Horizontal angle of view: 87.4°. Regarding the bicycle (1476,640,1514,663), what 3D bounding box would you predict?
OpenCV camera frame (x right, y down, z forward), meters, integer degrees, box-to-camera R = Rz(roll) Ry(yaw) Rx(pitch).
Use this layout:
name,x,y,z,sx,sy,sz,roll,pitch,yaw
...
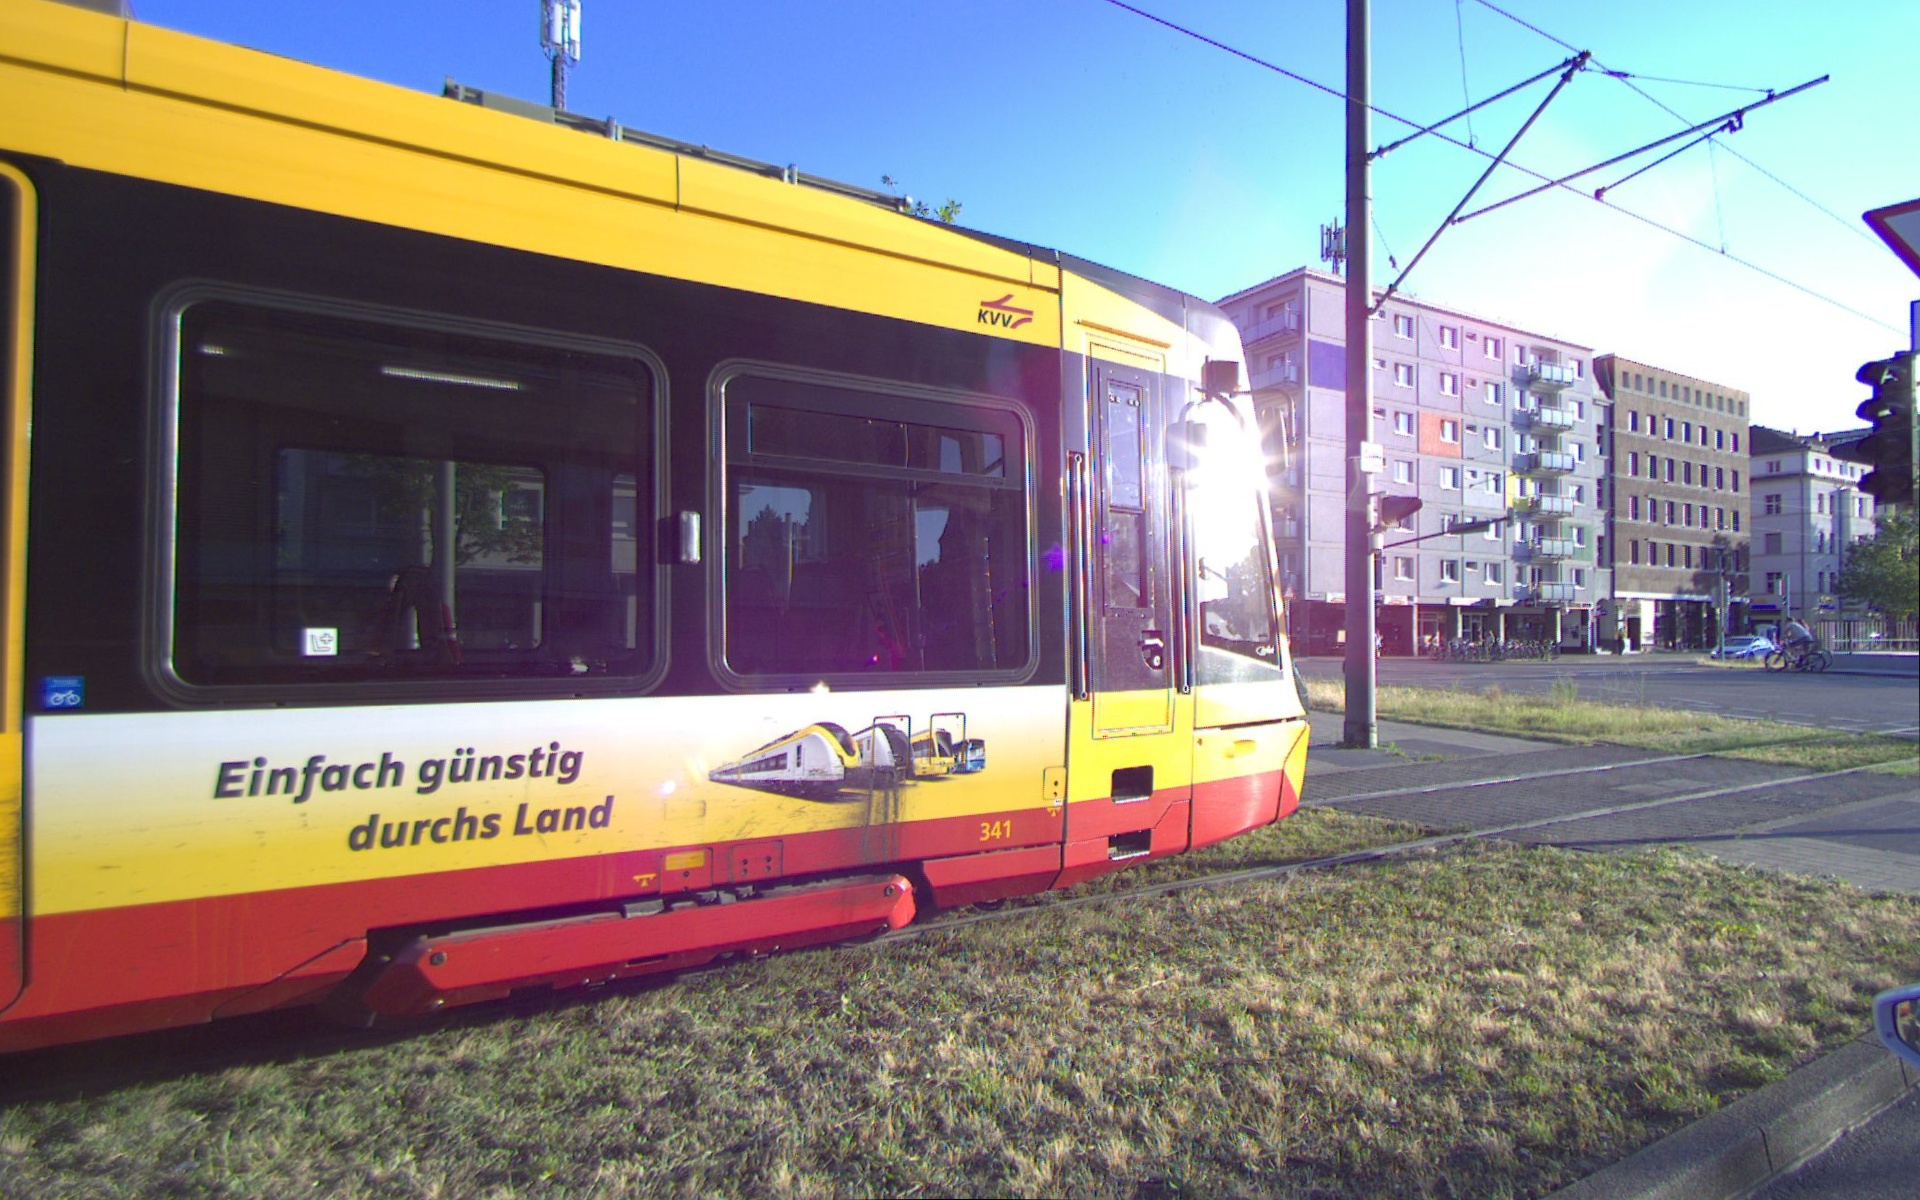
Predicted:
name,x,y,z,sx,sy,sz,roll,pitch,yaw
bicycle,29.263,2.788,54.927,0.644,1.206,1.780,1,-2,-30

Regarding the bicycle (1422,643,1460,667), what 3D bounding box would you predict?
name,x,y,z,sx,sy,sz,roll,pitch,yaw
bicycle,25.823,2.960,53.954,0.631,1.224,1.786,1,-2,-30

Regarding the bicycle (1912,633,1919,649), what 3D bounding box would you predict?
name,x,y,z,sx,sy,sz,roll,pitch,yaw
bicycle,74.300,3.155,77.316,2.382,1.217,0.809,1,-2,-28

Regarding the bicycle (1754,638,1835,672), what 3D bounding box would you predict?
name,x,y,z,sx,sy,sz,roll,pitch,yaw
bicycle,29.107,1.915,35.058,2.141,1.098,0.535,0,-1,44

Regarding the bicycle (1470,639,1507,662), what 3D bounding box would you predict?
name,x,y,z,sx,sy,sz,roll,pitch,yaw
bicycle,28.721,2.741,54.589,0.561,1.197,1.761,1,-2,-29

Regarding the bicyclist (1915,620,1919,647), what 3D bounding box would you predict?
name,x,y,z,sx,sy,sz,roll,pitch,yaw
bicyclist,74.473,2.575,77.526,0.912,2.040,0.794,1,-1,-28

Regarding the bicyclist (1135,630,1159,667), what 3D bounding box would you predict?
name,x,y,z,sx,sy,sz,roll,pitch,yaw
bicyclist,7.540,1.951,40.532,0.841,1.445,0.500,0,-1,-6

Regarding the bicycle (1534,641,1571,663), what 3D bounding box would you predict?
name,x,y,z,sx,sy,sz,roll,pitch,yaw
bicycle,33.890,2.974,57.457,0.739,1.194,1.684,1,-1,-28

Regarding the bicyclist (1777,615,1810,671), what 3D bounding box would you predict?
name,x,y,z,sx,sy,sz,roll,pitch,yaw
bicyclist,27.809,1.431,33.509,0.642,1.842,0.785,1,-2,-45

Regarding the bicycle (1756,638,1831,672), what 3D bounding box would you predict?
name,x,y,z,sx,sy,sz,roll,pitch,yaw
bicycle,27.798,1.823,33.503,1.882,1.089,0.628,-1,-2,45

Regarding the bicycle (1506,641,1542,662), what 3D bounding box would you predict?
name,x,y,z,sx,sy,sz,roll,pitch,yaw
bicycle,31.550,2.868,56.248,0.545,1.132,1.747,1,-2,-29

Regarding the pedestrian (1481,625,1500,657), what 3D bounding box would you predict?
name,x,y,z,sx,sy,sz,roll,pitch,yaw
pedestrian,31.883,2.447,60.330,0.728,1.866,0.780,1,-2,-38

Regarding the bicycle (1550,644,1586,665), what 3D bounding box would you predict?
name,x,y,z,sx,sy,sz,roll,pitch,yaw
bicycle,35.185,3.123,58.190,0.688,1.159,1.684,1,-1,-27

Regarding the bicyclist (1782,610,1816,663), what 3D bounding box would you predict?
name,x,y,z,sx,sy,sz,roll,pitch,yaw
bicyclist,29.204,1.266,34.980,0.867,1.842,0.535,-1,-2,44

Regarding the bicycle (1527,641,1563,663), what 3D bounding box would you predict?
name,x,y,z,sx,sy,sz,roll,pitch,yaw
bicycle,33.231,2.937,57.099,0.696,1.168,1.684,1,-1,-27

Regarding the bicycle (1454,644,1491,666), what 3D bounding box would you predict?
name,x,y,z,sx,sy,sz,roll,pitch,yaw
bicycle,27.643,2.951,54.218,0.592,1.154,1.749,1,-2,-29

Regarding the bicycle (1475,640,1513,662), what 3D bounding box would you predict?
name,x,y,z,sx,sy,sz,roll,pitch,yaw
bicycle,29.679,2.811,55.815,0.632,1.176,1.823,1,-2,-29

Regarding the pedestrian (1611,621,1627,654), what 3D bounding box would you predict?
name,x,y,z,sx,sy,sz,roll,pitch,yaw
pedestrian,44.653,2.516,68.071,0.783,2.207,0.599,1,-1,-30

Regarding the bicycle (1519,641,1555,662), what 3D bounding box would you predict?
name,x,y,z,sx,sy,sz,roll,pitch,yaw
bicycle,32.619,2.900,56.817,0.626,1.139,1.720,2,-2,-28

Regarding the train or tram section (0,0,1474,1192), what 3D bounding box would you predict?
name,x,y,z,sx,sy,sz,roll,pitch,yaw
train or tram section,-3.346,-0.312,3.866,13.061,3.788,2.895,1,-1,-30

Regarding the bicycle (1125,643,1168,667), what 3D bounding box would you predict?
name,x,y,z,sx,sy,sz,roll,pitch,yaw
bicycle,7.530,2.209,40.526,1.637,0.957,0.509,0,-1,-7

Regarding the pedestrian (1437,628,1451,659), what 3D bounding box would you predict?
name,x,y,z,sx,sy,sz,roll,pitch,yaw
pedestrian,26.794,2.381,55.635,0.572,1.706,0.544,-1,-2,41

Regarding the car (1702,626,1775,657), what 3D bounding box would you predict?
name,x,y,z,sx,sy,sz,roll,pitch,yaw
car,42.128,2.246,54.341,3.951,1.639,1.682,1,-3,-29

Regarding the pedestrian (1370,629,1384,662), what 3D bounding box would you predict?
name,x,y,z,sx,sy,sz,roll,pitch,yaw
pedestrian,21.471,2.330,51.705,0.563,1.641,0.602,0,-1,29

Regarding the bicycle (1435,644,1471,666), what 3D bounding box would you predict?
name,x,y,z,sx,sy,sz,roll,pitch,yaw
bicycle,26.719,2.976,54.448,0.601,1.157,1.768,1,-2,-29

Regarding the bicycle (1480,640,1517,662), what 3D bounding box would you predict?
name,x,y,z,sx,sy,sz,roll,pitch,yaw
bicycle,30.141,2.842,56.264,0.598,1.174,1.768,1,-2,-29

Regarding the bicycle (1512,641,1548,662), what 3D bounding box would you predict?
name,x,y,z,sx,sy,sz,roll,pitch,yaw
bicycle,32.057,2.901,56.527,0.561,1.134,1.753,1,-2,-29

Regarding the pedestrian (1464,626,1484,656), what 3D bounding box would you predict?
name,x,y,z,sx,sy,sz,roll,pitch,yaw
pedestrian,31.282,2.481,61.138,0.715,1.837,0.820,1,0,-40

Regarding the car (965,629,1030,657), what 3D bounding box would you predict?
name,x,y,z,sx,sy,sz,roll,pitch,yaw
car,2.009,2.340,55.299,1.974,1.505,3.974,1,-2,-26

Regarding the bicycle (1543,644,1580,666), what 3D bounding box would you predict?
name,x,y,z,sx,sy,sz,roll,pitch,yaw
bicycle,34.585,3.150,57.775,0.739,1.185,1.684,1,-1,-28

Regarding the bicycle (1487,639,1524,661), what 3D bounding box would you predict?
name,x,y,z,sx,sy,sz,roll,pitch,yaw
bicycle,30.700,2.811,56.551,0.598,1.151,1.763,1,-2,-29

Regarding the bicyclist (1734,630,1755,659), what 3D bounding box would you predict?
name,x,y,z,sx,sy,sz,roll,pitch,yaw
bicyclist,49.016,2.775,62.756,0.779,1.765,0.701,1,-1,-19

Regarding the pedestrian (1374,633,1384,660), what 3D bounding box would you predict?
name,x,y,z,sx,sy,sz,roll,pitch,yaw
pedestrian,21.766,2.430,52.168,0.376,1.401,0.394,0,-1,32
